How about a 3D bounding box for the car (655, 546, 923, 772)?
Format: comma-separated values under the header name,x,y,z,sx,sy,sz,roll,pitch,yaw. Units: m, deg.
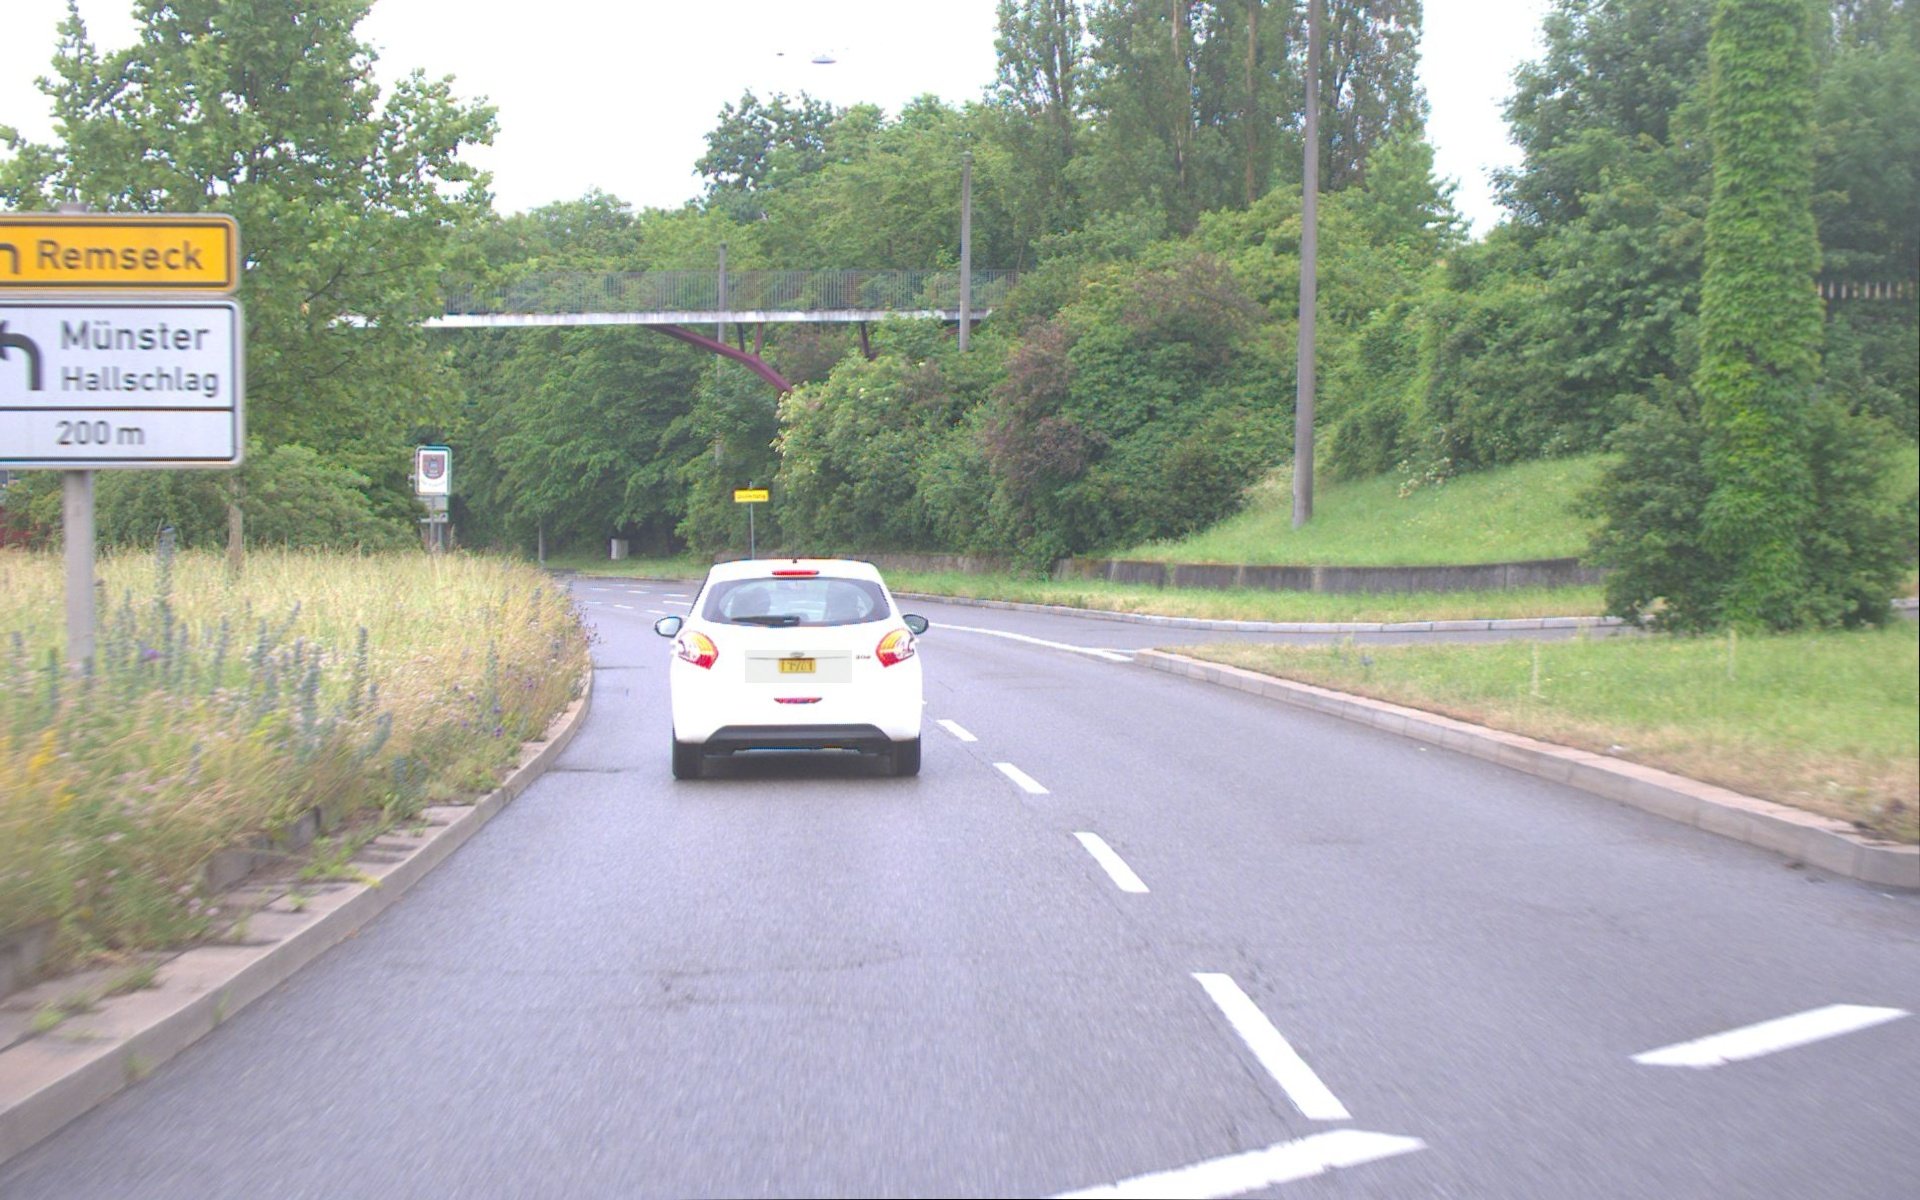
name,x,y,z,sx,sy,sz,roll,pitch,yaw
car,-1.160,0.370,24.187,1.708,1.435,3.691,-1,0,-1
